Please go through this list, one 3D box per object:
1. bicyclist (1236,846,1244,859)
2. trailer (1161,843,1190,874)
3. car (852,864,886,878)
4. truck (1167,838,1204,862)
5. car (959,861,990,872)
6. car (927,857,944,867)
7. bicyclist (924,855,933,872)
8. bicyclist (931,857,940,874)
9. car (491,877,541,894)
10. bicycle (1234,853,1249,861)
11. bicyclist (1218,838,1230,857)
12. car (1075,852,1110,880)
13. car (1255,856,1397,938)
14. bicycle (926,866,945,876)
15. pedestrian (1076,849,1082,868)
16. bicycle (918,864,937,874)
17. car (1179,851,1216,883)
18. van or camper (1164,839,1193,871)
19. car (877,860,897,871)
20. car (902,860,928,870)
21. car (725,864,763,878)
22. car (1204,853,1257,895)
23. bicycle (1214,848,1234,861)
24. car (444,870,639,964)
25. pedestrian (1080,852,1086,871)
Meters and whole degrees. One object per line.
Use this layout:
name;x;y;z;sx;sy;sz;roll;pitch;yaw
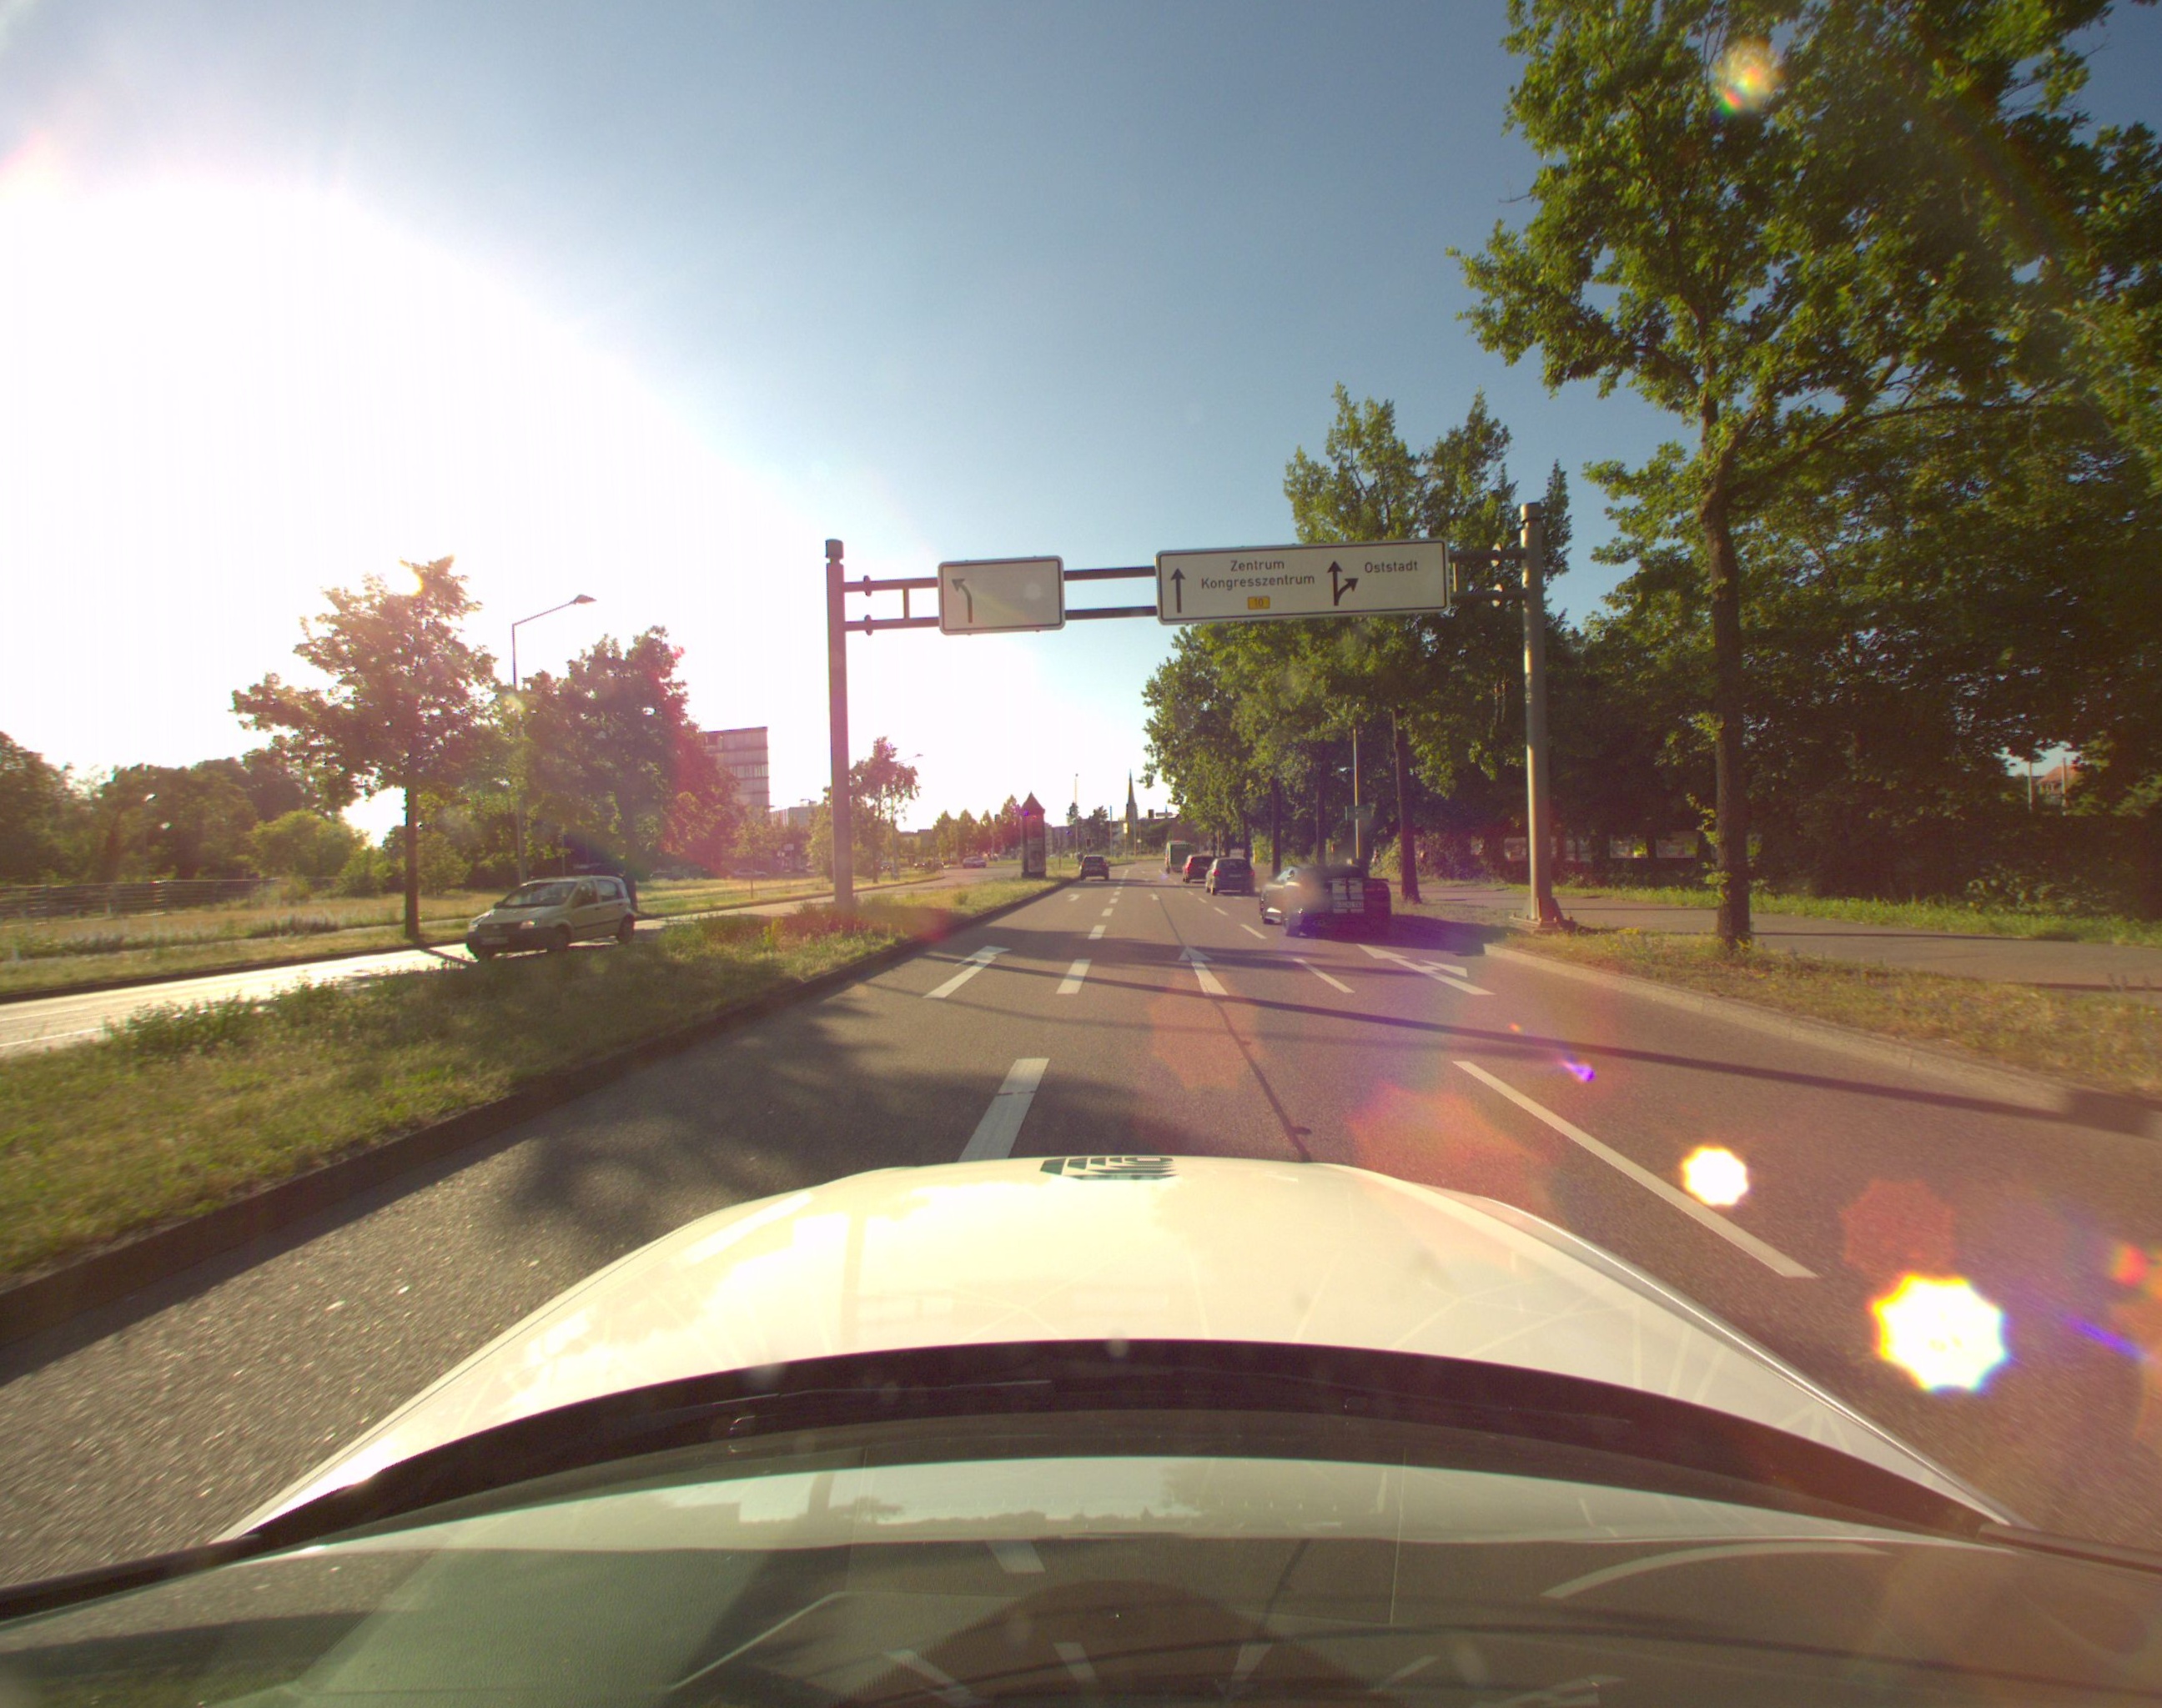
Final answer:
bicyclist;16.789;-0.138;86.102;0.649;1.294;0.464;-3;1;-14
trailer;7.525;0.320;65.249;2.081;2.400;3.505;-1;0;4
car;-27.354;2.165;105.003;3.982;1.508;1.834;-3;0;-24
truck;12.340;-0.483;95.855;2.557;2.558;6.288;-2;0;24
car;-14.449;1.703;110.215;3.711;1.434;1.847;-2;0;27
car;-21.653;1.219;121.164;1.907;1.444;4.116;-2;0;-16
bicyclist;-15.889;1.017;84.753;0.806;1.770;0.499;-1;0;18
bicyclist;-15.412;1.250;86.063;0.807;1.789;0.498;-1;0;11
car;-57.022;3.146;82.258;4.014;1.508;1.853;-2;0;-39
bicycle;16.939;0.297;86.131;1.461;0.786;0.438;-5;1;-14
bicyclist;14.913;-0.693;84.910;0.927;1.899;0.605;-4;-1;40
car;0.727;0.751;52.628;1.901;1.660;3.995;-2;0;-4
car;4.735;0.760;16.415;1.845;1.338;4.632;-1;1;5
bicycle;-15.335;1.831;86.093;1.896;1.019;0.506;-1;0;10
pedestrian;-0.195;0.419;81.673;0.483;1.844;0.720;-2;0;5
bicycle;-16.006;1.544;84.790;1.893;1.019;0.507;-1;0;19
car;6.699;0.741;47.228;1.740;1.620;3.823;-2;2;3
van or camper;8.471;0.053;71.279;2.274;2.629;6.592;-1;1;5
car;-29.805;1.808;125.444;1.657;1.441;3.625;-3;1;9
car;-27.637;1.787;135.236;4.095;1.376;1.683;-3;1;31
car;-39.985;2.020;96.644;3.728;1.508;1.853;-3;0;-39
car;5.992;0.760;32.970;1.739;1.473;3.826;-2;0;5
bicycle;14.928;0.055;84.926;1.885;1.244;0.613;-4;-1;40
car;-10.695;1.167;16.457;1.557;1.574;3.413;-2;0;1
pedestrian;0.196;0.756;82.679;0.483;1.844;0.673;-2;0;7
